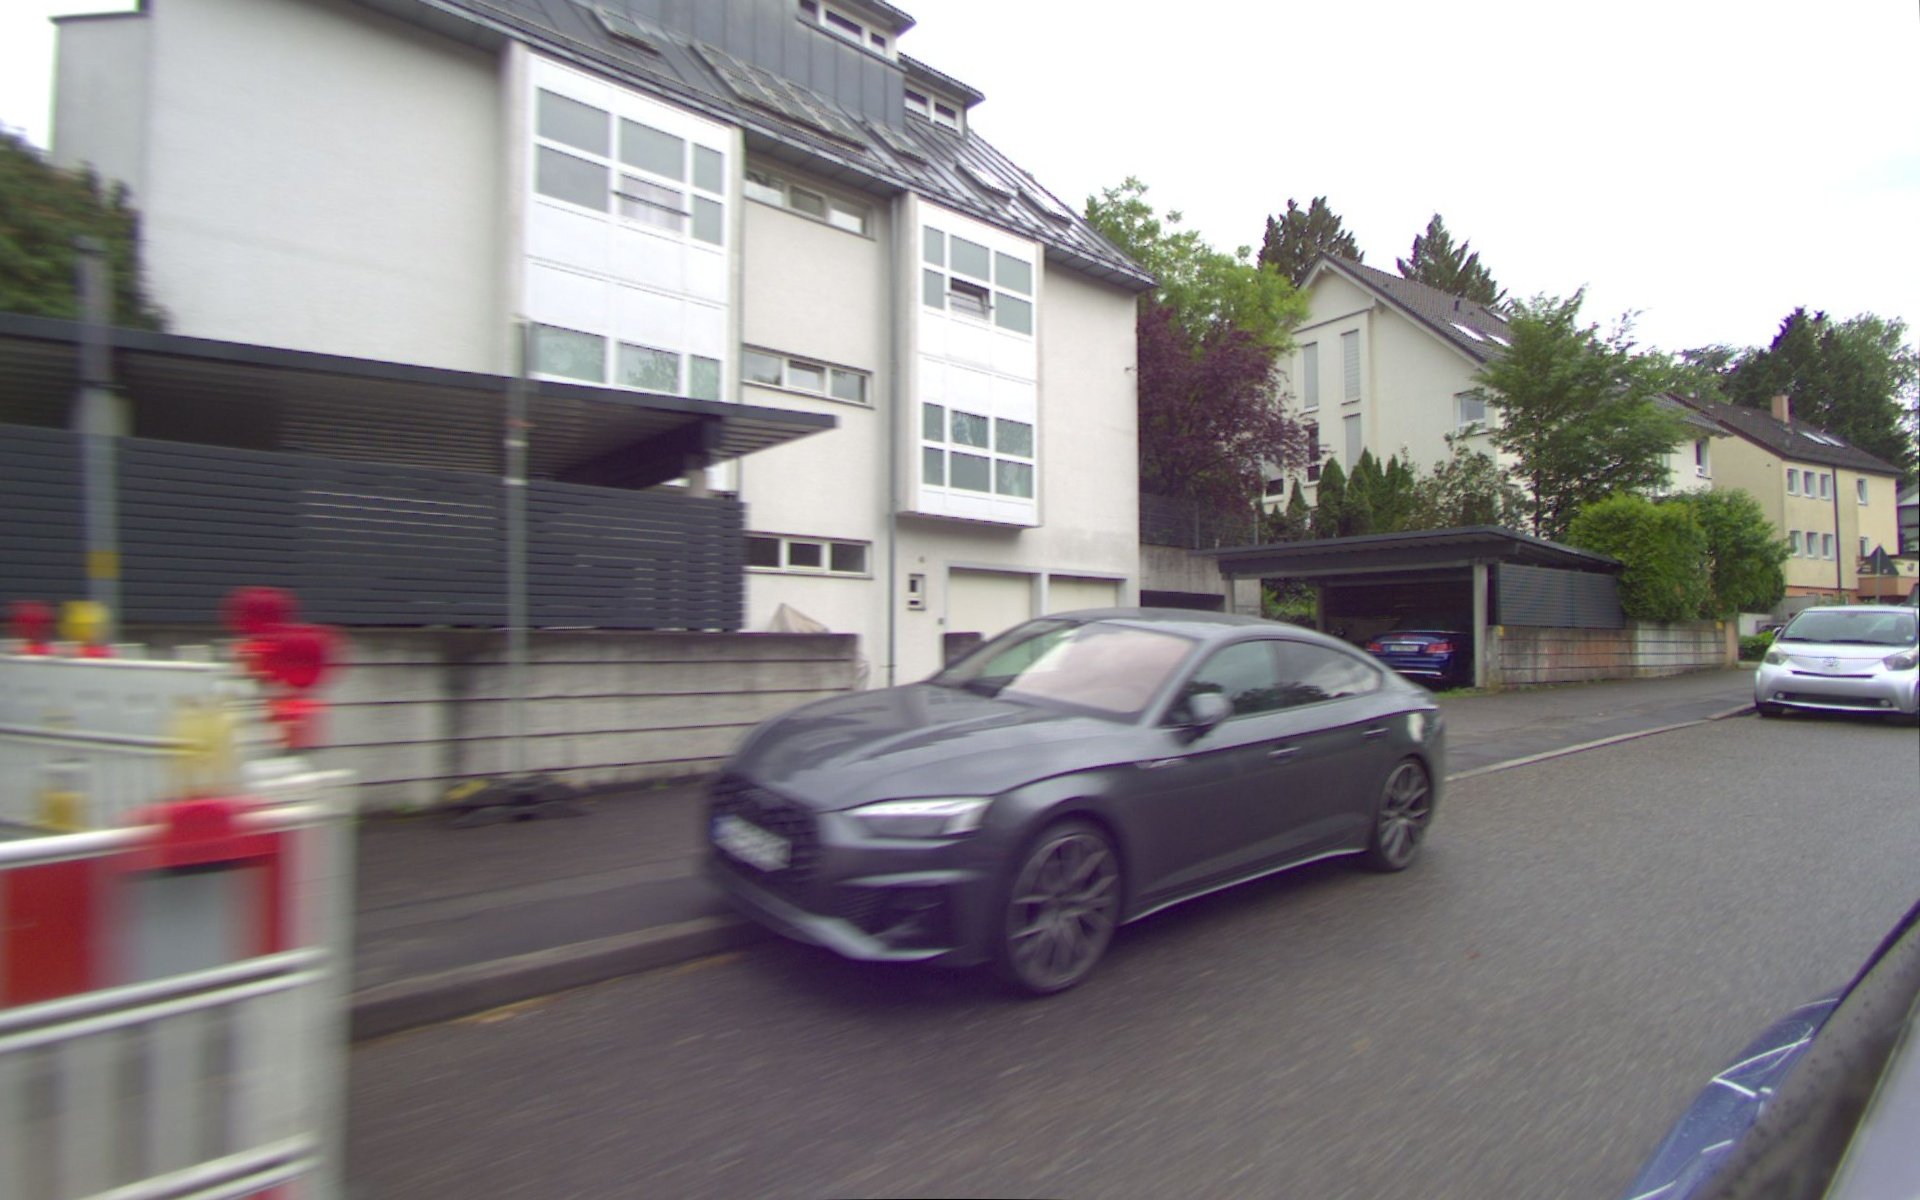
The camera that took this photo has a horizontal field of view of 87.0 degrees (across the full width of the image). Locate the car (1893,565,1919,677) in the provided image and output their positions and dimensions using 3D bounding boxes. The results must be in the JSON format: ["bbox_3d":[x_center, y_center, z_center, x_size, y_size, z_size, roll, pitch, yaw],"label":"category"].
[{"bbox_3d":[19.725,0.394,19.323,4.865,2.039,1.999,0,1,-37],"label":"car"}]

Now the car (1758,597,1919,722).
[{"bbox_3d":[12.243,0.699,13.541,3.323,1.476,1.677,0,0,-37],"label":"car"}]

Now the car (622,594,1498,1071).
[{"bbox_3d":[0.893,0.709,5.378,4.753,1.440,1.934,0,-1,-41],"label":"car"}]

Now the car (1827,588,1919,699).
[{"bbox_3d":[15.847,0.637,16.185,4.310,1.616,1.939,0,1,-34],"label":"car"}]

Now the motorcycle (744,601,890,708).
[{"bbox_3d":[-2.073,0.748,14.806,2.008,1.470,0.797,0,-1,-40],"label":"motorcycle"}]

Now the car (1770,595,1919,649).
[{"bbox_3d":[30.105,0.740,33.752,1.954,1.617,4.341,0,-4,-33],"label":"car"}]

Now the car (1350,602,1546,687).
[{"bbox_3d":[9.124,0.791,18.804,3.928,1.415,1.738,0,-3,-39],"label":"car"}]
